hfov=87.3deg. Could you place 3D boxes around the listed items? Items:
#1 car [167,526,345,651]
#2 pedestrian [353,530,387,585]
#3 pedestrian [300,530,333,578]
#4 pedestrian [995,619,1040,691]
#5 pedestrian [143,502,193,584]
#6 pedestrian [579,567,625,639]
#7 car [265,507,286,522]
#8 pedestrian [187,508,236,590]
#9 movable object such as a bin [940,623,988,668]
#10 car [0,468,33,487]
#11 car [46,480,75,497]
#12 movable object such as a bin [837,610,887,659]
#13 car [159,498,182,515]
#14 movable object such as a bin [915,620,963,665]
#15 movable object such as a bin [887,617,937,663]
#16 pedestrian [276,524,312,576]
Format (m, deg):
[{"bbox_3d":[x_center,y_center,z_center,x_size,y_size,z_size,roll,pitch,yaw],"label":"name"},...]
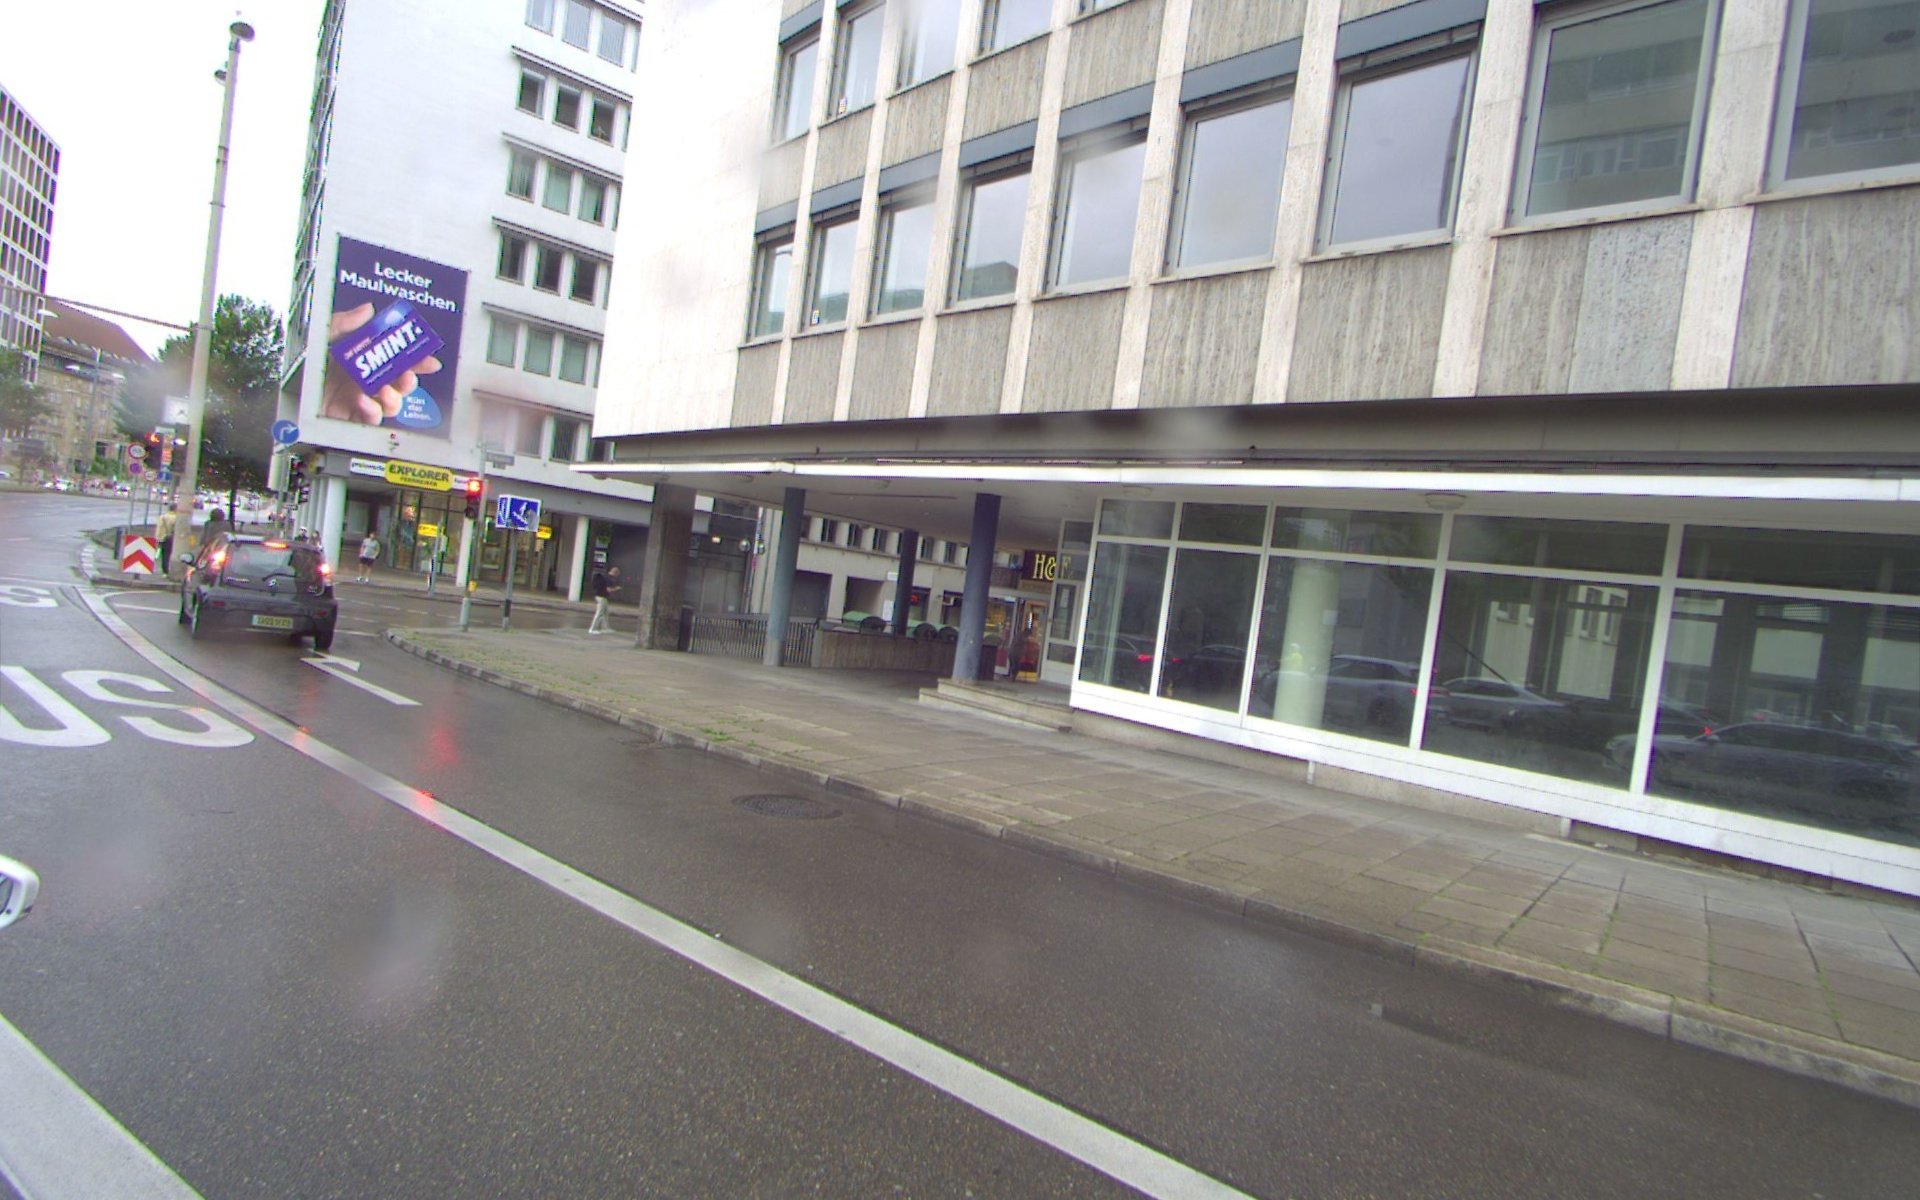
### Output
[{"bbox_3d":[-10.461,-0.227,14.836,1.566,1.446,3.953,9,-2,-42],"label":"car"},{"bbox_3d":[-20.799,-1.478,35.474,0.660,1.815,0.771,8,0,-15],"label":"pedestrian"},{"bbox_3d":[-22.173,-1.578,34.685,0.616,1.561,0.651,8,0,-15],"label":"pedestrian"},{"bbox_3d":[1.560,1.489,27.234,0.698,1.825,0.799,8,0,29],"label":"pedestrian"},{"bbox_3d":[-18.653,-1.347,23.706,0.745,1.820,0.808,7,1,-38],"label":"pedestrian"},{"bbox_3d":[-9.257,0.071,26.028,0.768,1.752,0.589,7,0,-44],"label":"pedestrian"},{"bbox_3d":[-91.601,-11.403,134.646,1.680,1.503,3.973,8,-2,-28],"label":"car"},{"bbox_3d":[-17.714,-1.215,23.804,0.745,1.820,0.808,7,1,-38],"label":"pedestrian"},{"bbox_3d":[0.151,1.647,36.633,1.095,1.399,1.186,7,1,-37],"label":"movable object such as a bin"},{"bbox_3d":[-140.177,-18.183,148.902,3.969,2.037,1.979,9,-1,-38],"label":"car"},{"bbox_3d":[-94.201,-11.628,105.340,1.622,1.454,3.871,8,0,-34],"label":"car"},{"bbox_3d":[-3.272,1.141,33.517,0.961,1.447,1.268,7,1,-36],"label":"movable object such as a bin"},{"bbox_3d":[-98.615,-11.670,125.627,1.878,1.662,3.962,8,-1,-35],"label":"car"},{"bbox_3d":[-0.753,1.520,35.946,1.095,1.399,1.186,7,1,-37],"label":"movable object such as a bin"},{"bbox_3d":[-1.683,1.405,35.210,1.095,1.399,1.186,7,1,-37],"label":"movable object such as a bin"},{"bbox_3d":[-22.822,-1.717,34.492,0.660,1.675,0.651,8,0,-15],"label":"pedestrian"}]
